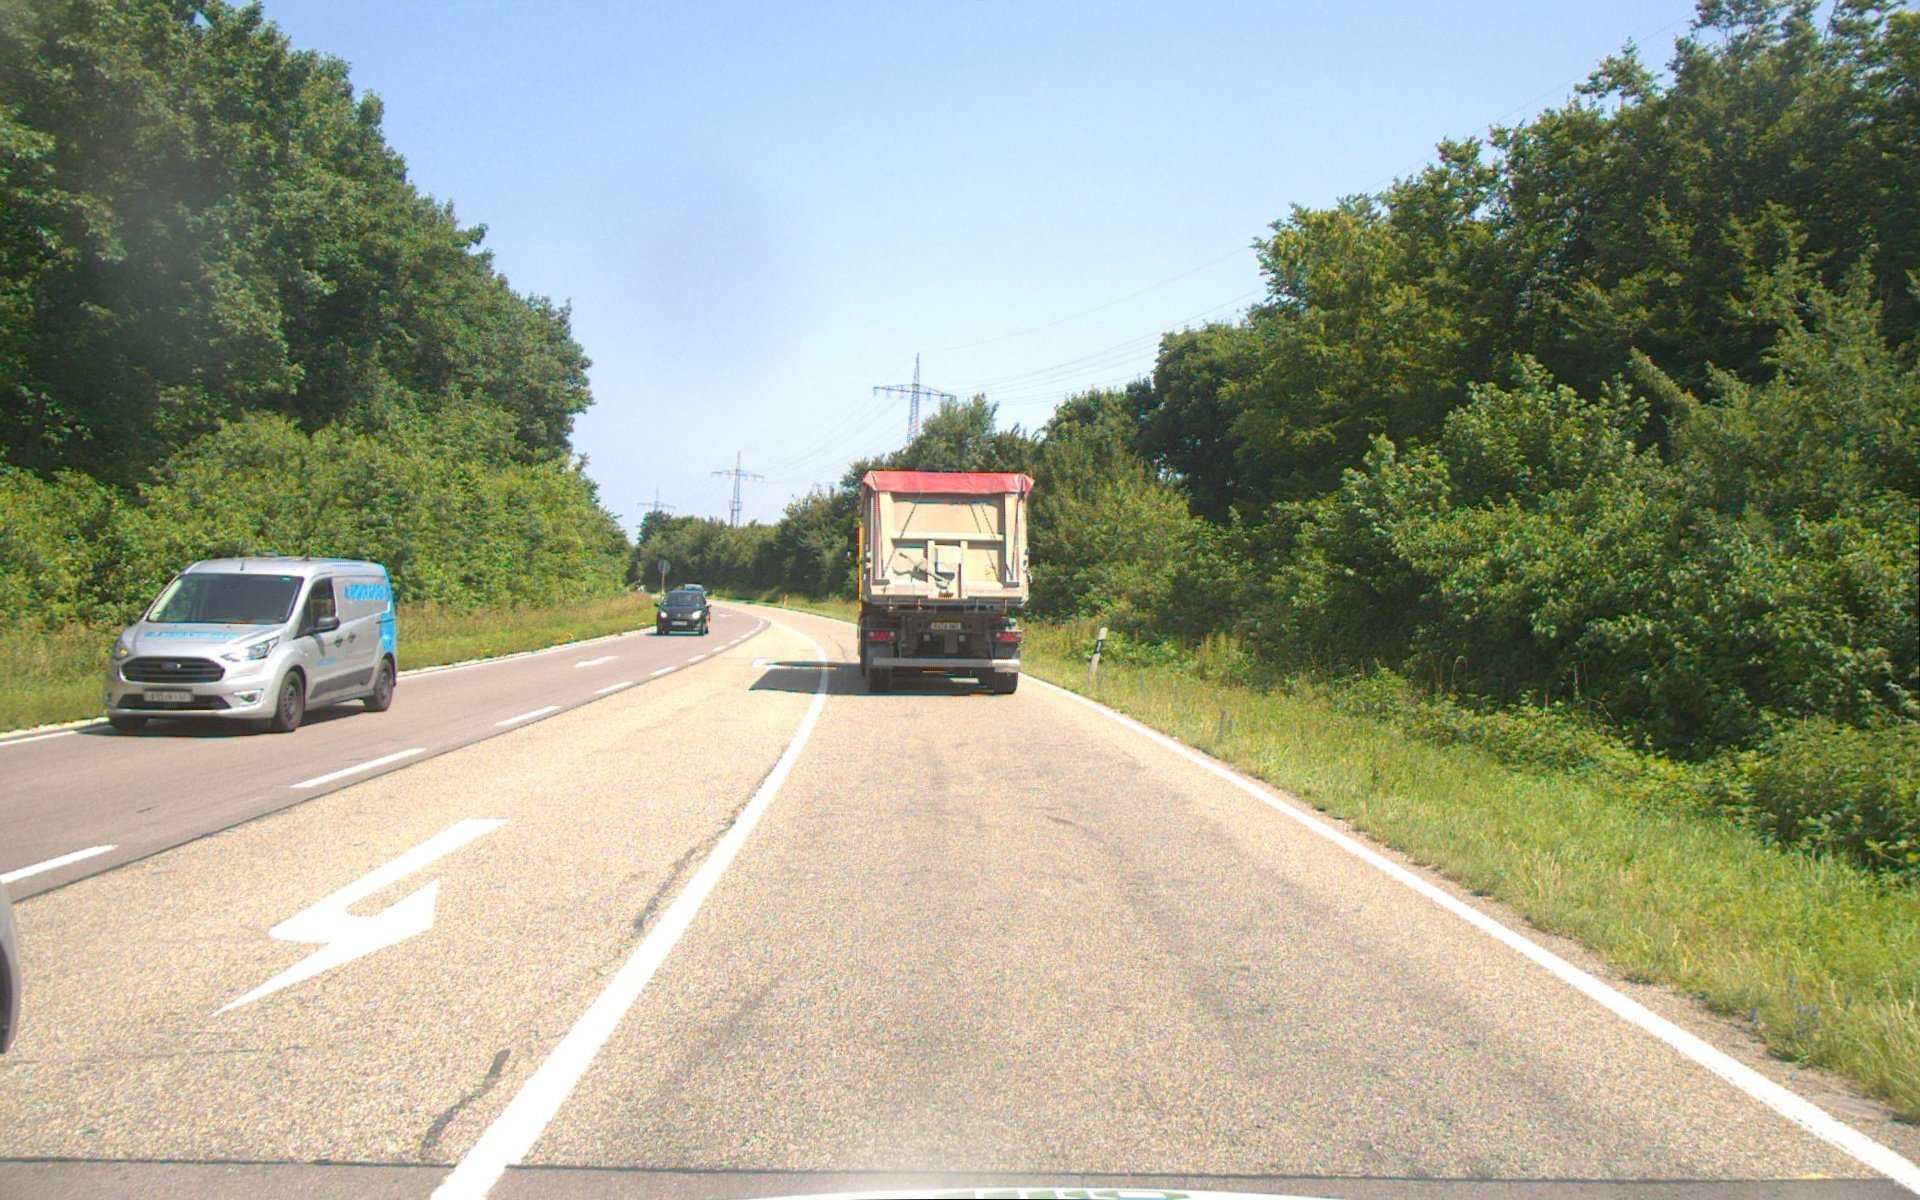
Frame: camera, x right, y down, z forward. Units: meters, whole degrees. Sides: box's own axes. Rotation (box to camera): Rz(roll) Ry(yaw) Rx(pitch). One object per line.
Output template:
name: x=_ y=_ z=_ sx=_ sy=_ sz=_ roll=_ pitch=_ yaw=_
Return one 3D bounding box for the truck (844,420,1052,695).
truck: x=-0.579 y=-0.677 z=30.644 sx=2.837 sy=4.031 sz=11.920 roll=1 pitch=0 yaw=-5

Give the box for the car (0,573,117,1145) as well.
car: x=-3.195 y=0.677 z=2.702 sx=1.674 sy=1.444 sz=4.096 roll=1 pitch=1 yaw=-3

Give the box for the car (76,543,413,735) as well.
car: x=-7.669 y=0.358 z=18.317 sx=1.806 sy=1.810 sz=4.890 roll=1 pitch=0 yaw=-3

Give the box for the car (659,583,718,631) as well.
car: x=-9.203 y=0.228 z=56.278 sx=1.582 sy=1.528 sz=3.550 roll=1 pitch=0 yaw=-3
